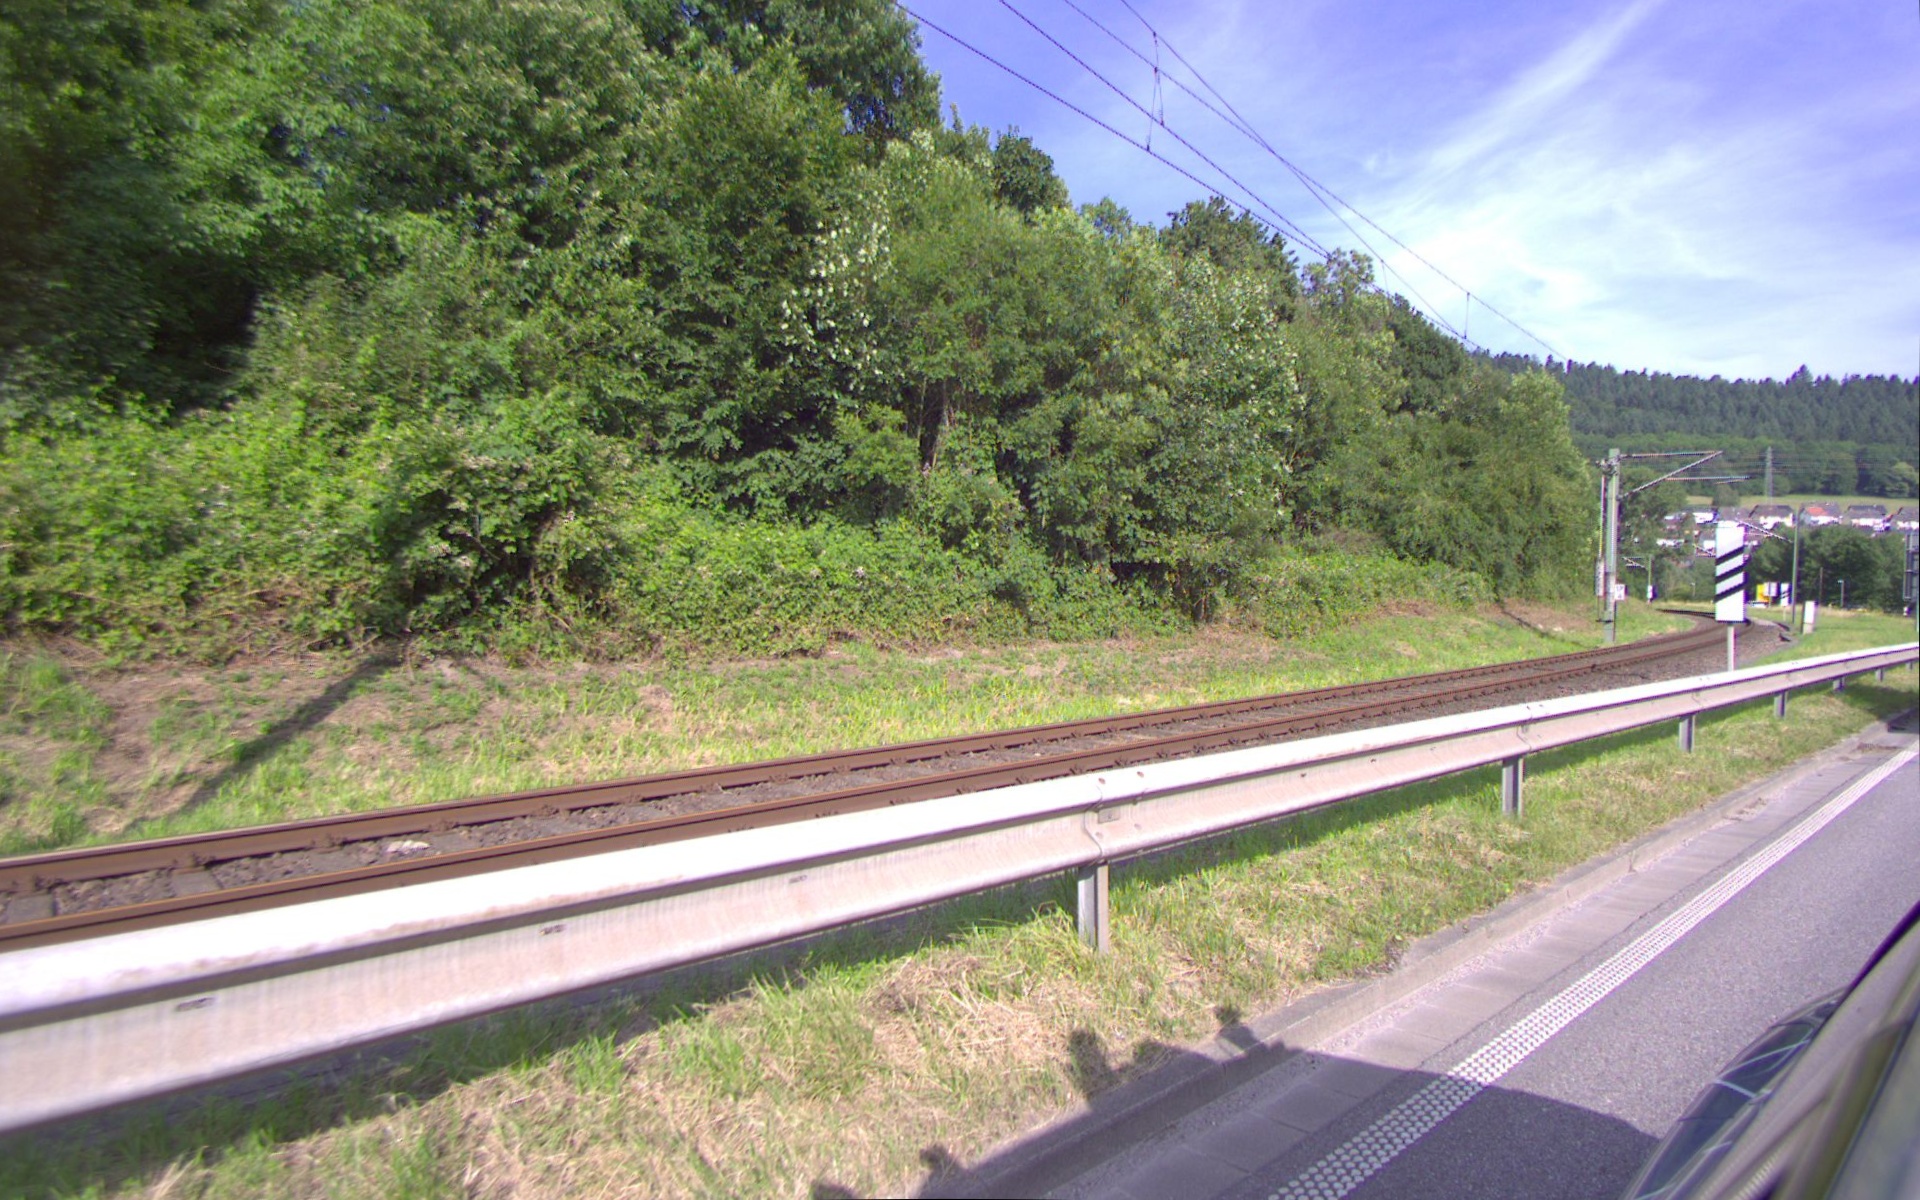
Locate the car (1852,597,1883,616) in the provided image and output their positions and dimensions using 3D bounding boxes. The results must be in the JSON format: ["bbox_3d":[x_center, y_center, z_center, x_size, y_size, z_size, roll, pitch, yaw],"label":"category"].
[{"bbox_3d":[103.367,0.755,115.318,1.985,2.039,3.954,0,1,32],"label":"car"}]
